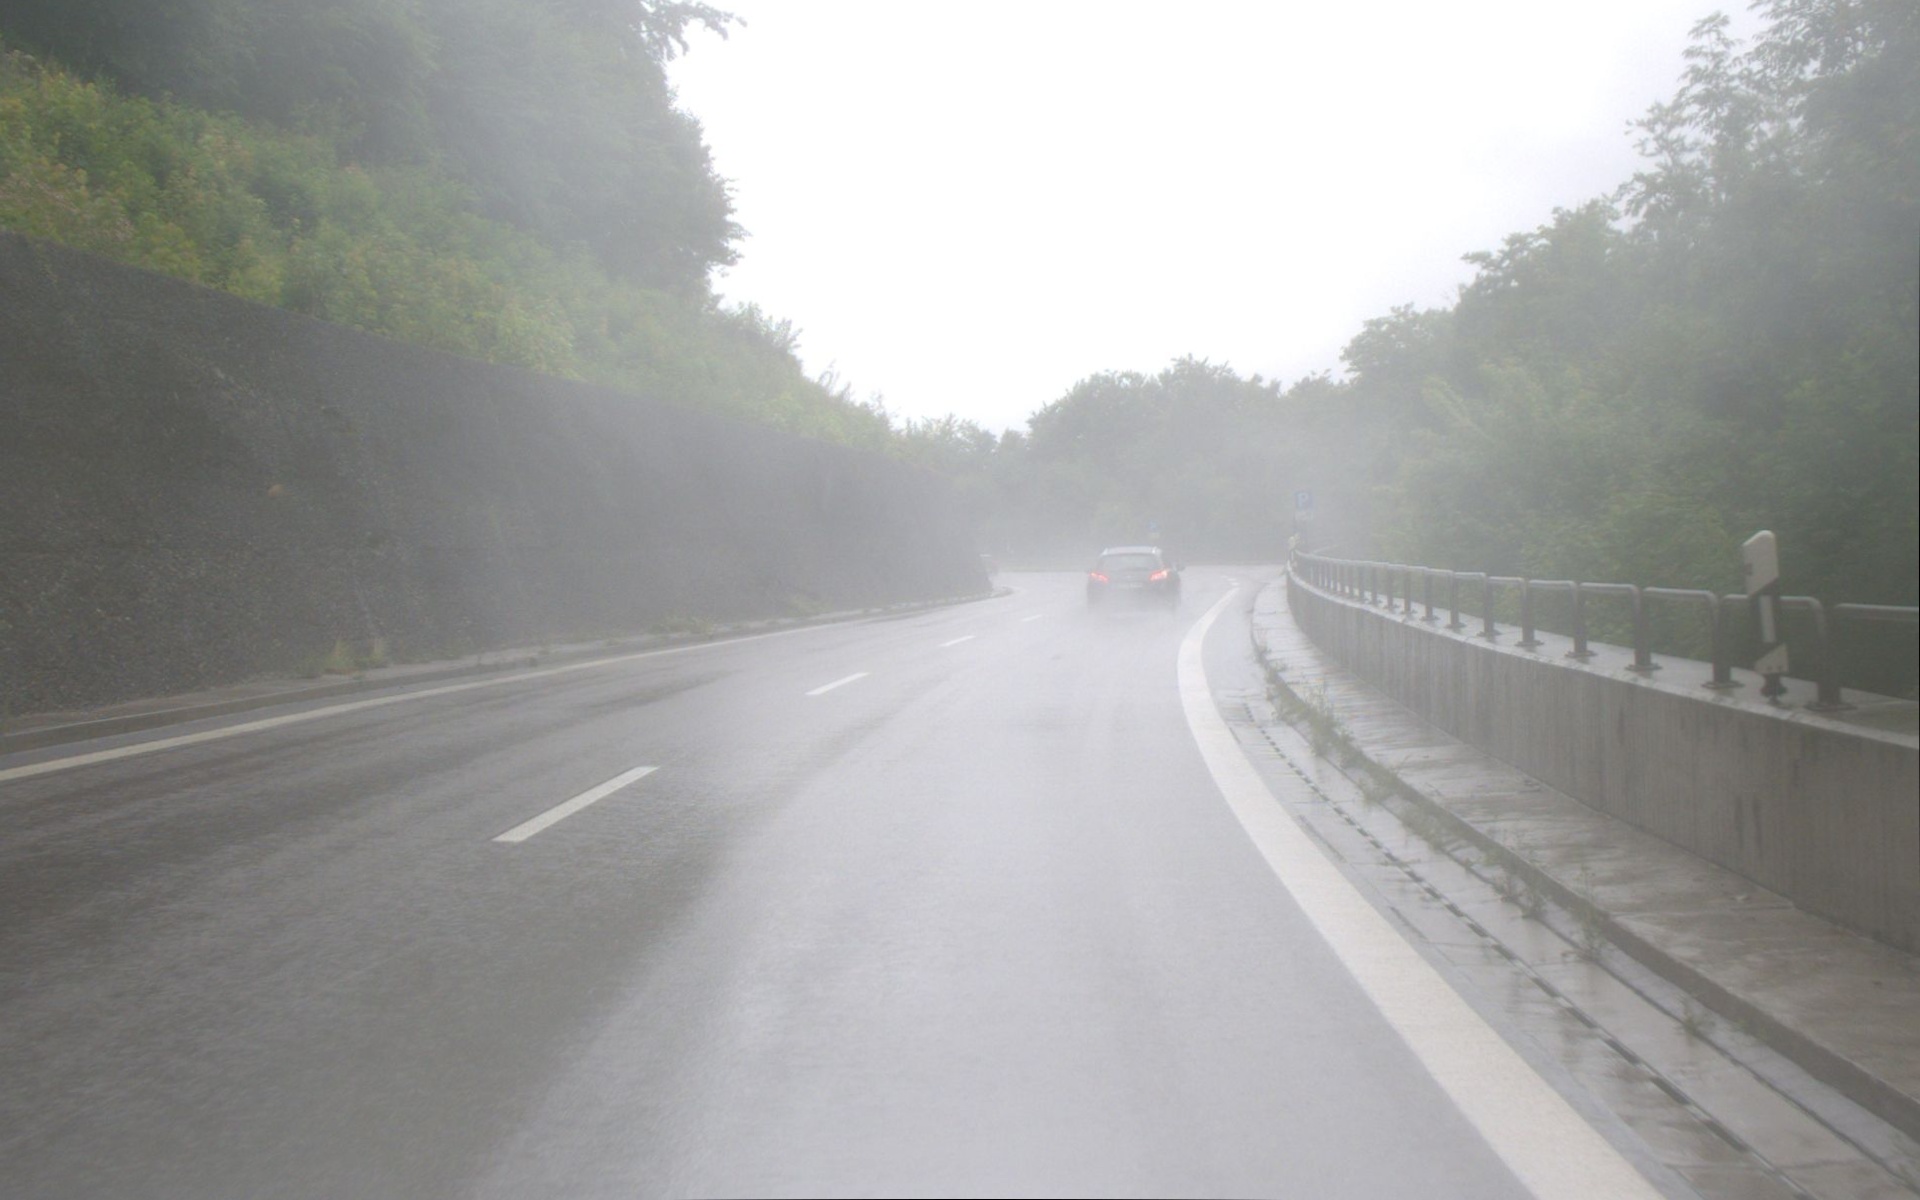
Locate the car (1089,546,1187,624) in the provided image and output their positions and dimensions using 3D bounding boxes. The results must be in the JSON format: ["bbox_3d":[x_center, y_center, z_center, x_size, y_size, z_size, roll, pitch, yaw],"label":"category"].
[{"bbox_3d":[3.604,-0.323,69.864,1.904,1.494,4.000,-1,1,3],"label":"car"}]
